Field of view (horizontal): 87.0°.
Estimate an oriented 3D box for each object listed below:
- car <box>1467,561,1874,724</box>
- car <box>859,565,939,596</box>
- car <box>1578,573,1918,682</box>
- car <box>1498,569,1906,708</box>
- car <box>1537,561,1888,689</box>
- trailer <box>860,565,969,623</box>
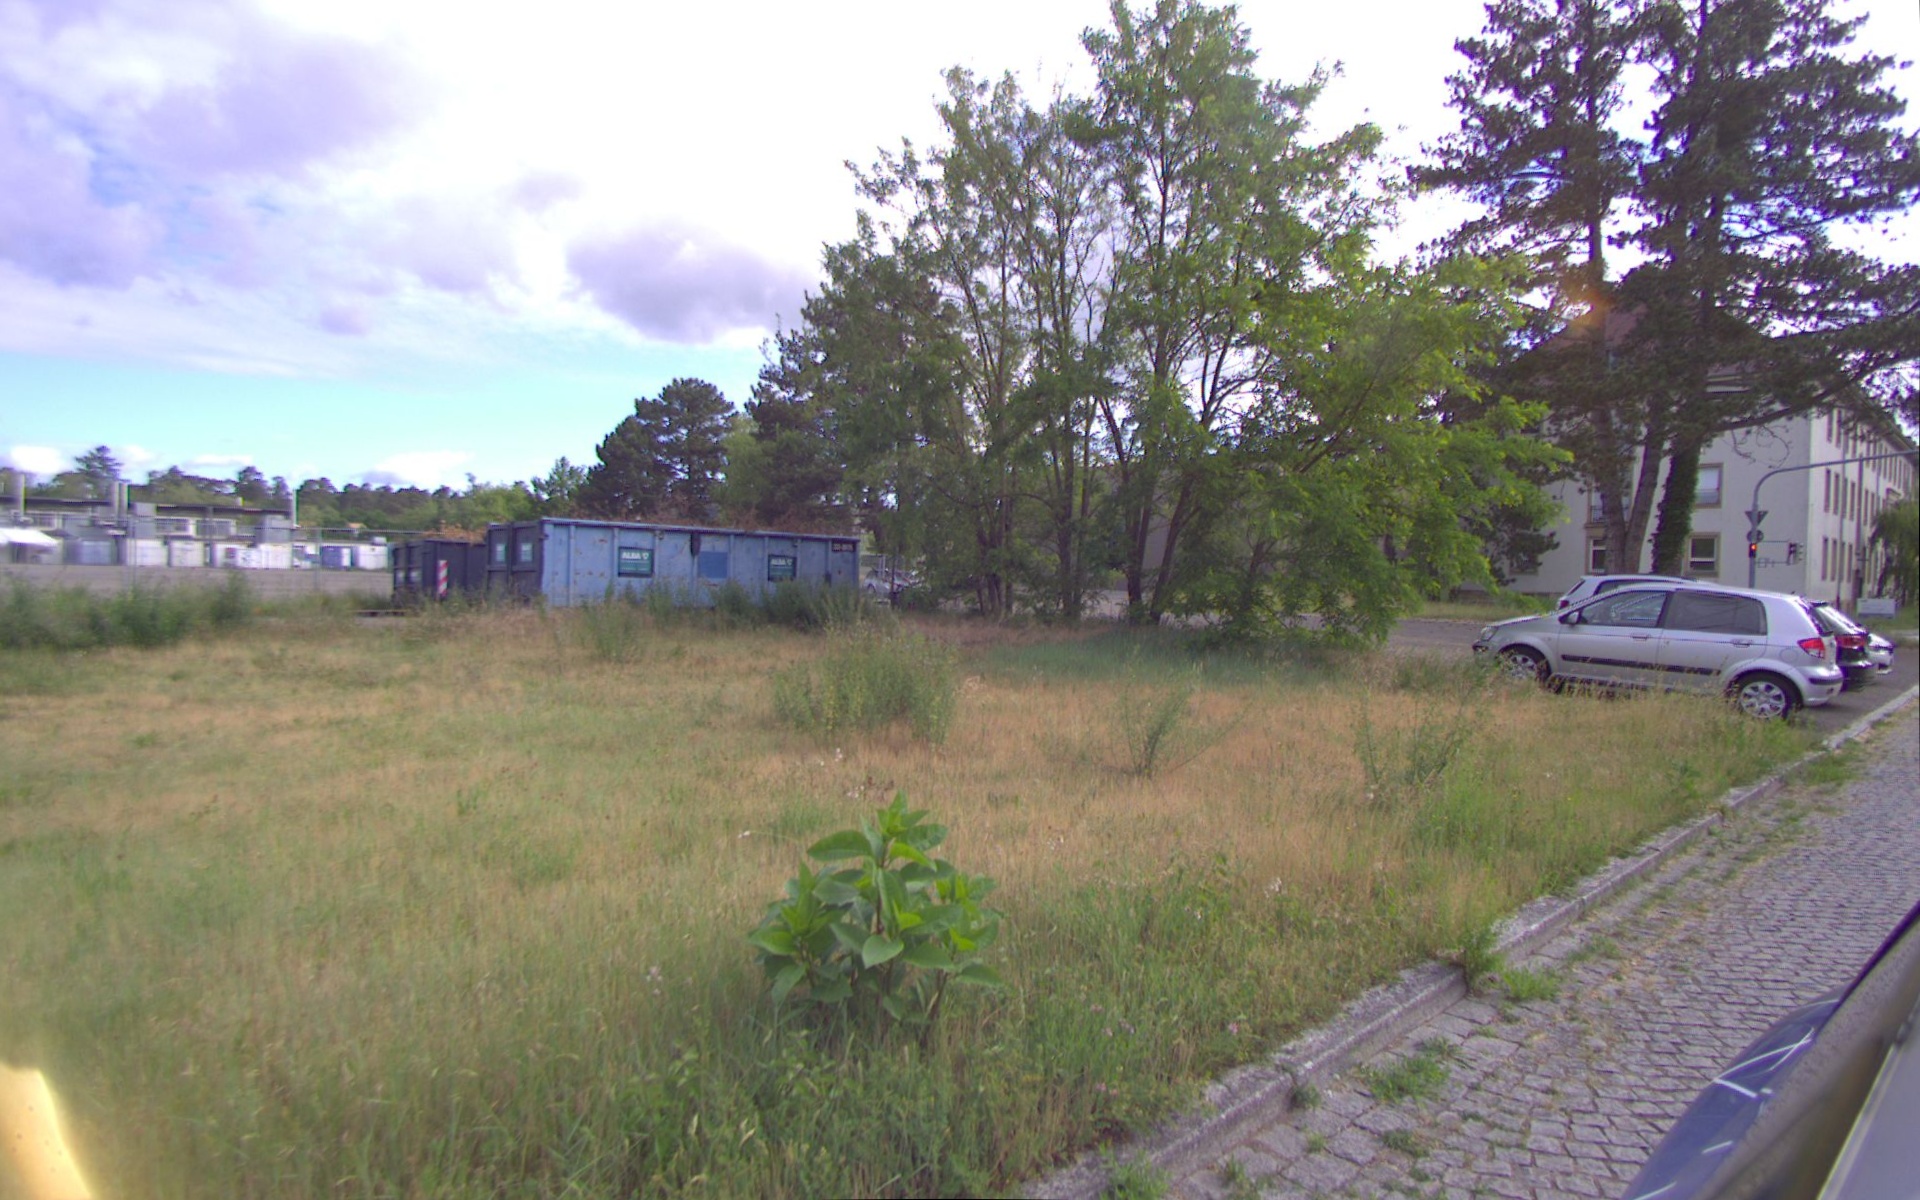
[{"bbox_3d":[8.597,0.394,12.464,1.714,1.497,3.777,1,4,-44],"label":"car"},{"bbox_3d":[-3.223,-1.016,52.941,4.139,1.492,1.835,3,2,44],"label":"car"},{"bbox_3d":[13.992,0.368,18.192,1.797,1.442,4.556,-1,5,-44],"label":"car"},{"bbox_3d":[10.387,0.422,14.451,1.766,1.423,4.374,1,4,-43],"label":"car"},{"bbox_3d":[12.109,0.277,16.498,4.332,1.593,1.798,6,5,44],"label":"car"},{"bbox_3d":[-1.005,-0.152,21.784,1.124,1.184,2.315,-1,2,-42],"label":"trailer"}]
